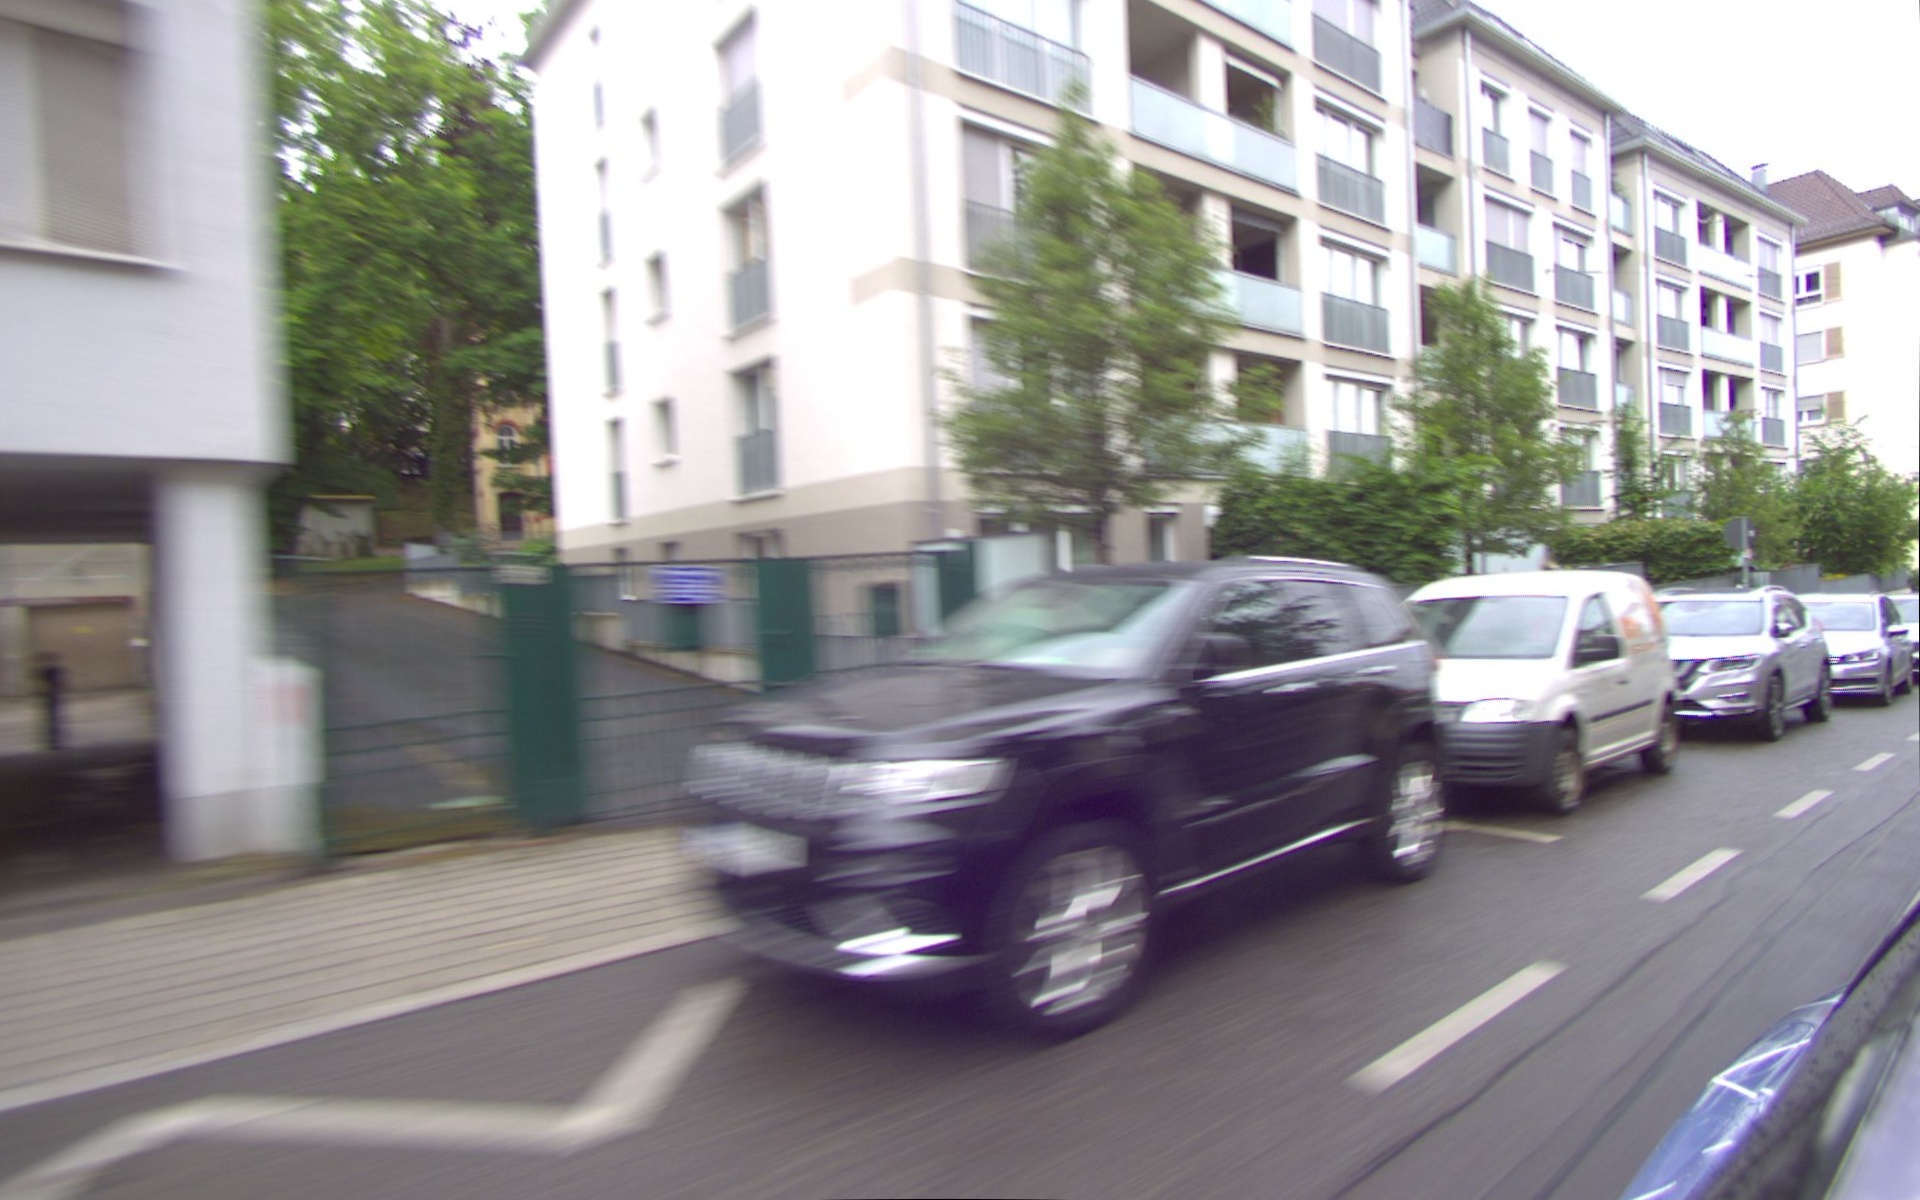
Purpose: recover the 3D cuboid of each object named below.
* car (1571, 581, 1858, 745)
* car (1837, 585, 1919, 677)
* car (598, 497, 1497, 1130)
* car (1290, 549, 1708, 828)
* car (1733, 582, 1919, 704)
[{"bbox_3d":[9.449,0.627,12.531,4.604,1.677,1.835,-1,0,-40],"label":"car"},{"bbox_3d":[18.347,0.528,19.351,4.491,1.605,1.976,-1,-1,-44],"label":"car"},{"bbox_3d":[0.840,0.608,5.254,4.739,1.818,1.944,-1,-1,-43],"label":"car"},{"bbox_3d":[4.824,0.581,8.758,4.394,1.818,1.780,0,-1,-42],"label":"car"},{"bbox_3d":[13.882,0.573,15.936,4.583,1.648,1.834,-1,-1,-41],"label":"car"}]
